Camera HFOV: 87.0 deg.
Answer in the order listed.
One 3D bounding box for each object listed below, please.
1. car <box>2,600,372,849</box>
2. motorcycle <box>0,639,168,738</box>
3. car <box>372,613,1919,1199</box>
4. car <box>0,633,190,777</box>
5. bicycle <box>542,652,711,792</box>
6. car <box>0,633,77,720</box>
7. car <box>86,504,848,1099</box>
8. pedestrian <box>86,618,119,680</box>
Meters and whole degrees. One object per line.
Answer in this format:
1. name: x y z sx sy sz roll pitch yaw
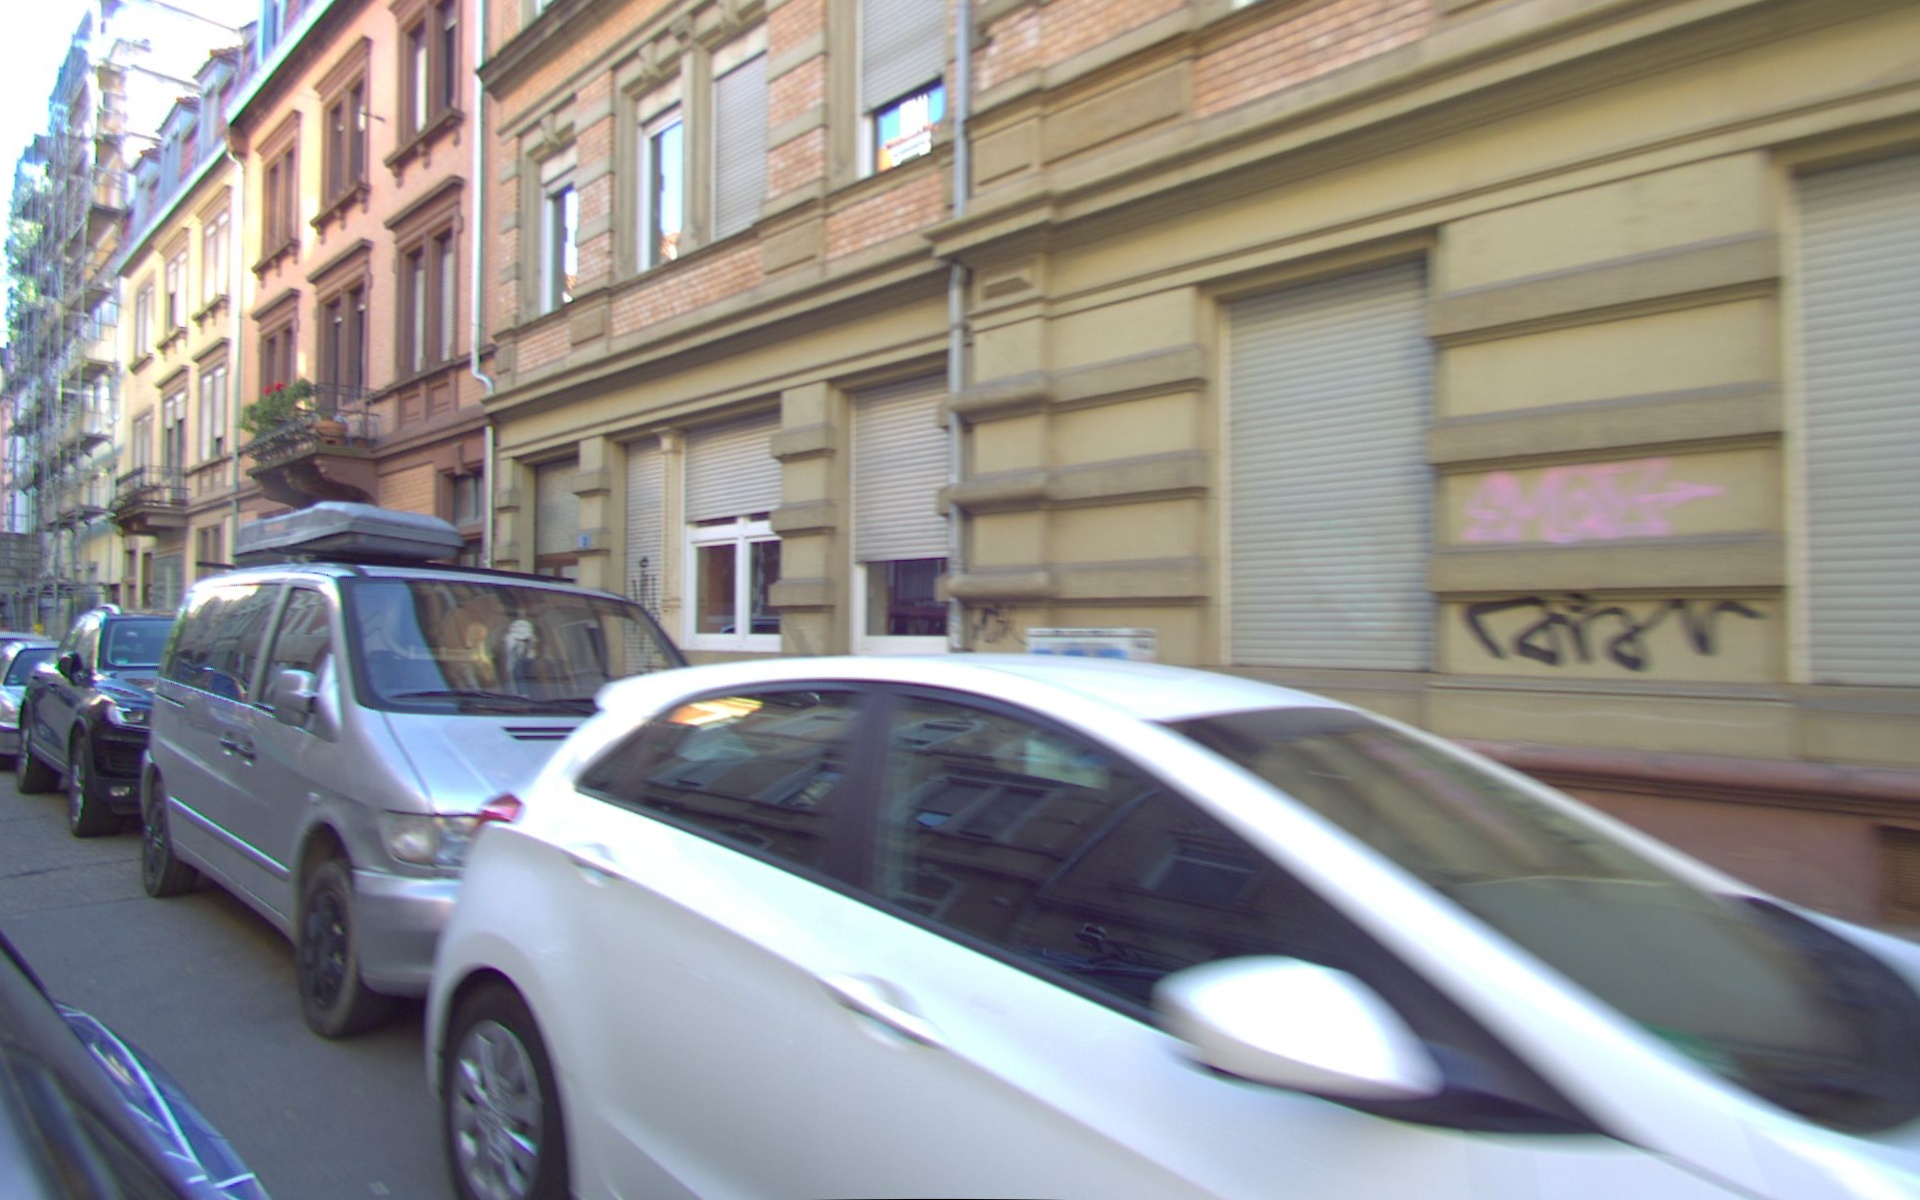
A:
1. car: -6.939 0.862 8.875 4.606 1.636 1.769 -1 -1 42
2. motorcycle: -13.310 1.305 15.132 2.165 1.370 0.844 2 -4 -1
3. car: 0.480 0.758 2.031 3.871 1.431 1.657 -1 -1 40
4. car: -10.703 1.121 12.035 3.998 1.324 1.681 -1 1 41
5. bicycle: -3.131 1.077 9.407 1.784 1.134 0.660 -2 -1 42
6. car: -17.262 1.308 18.035 3.997 1.430 1.657 -1 -4 40
7. car: -2.879 0.731 5.333 4.606 1.798 1.873 -1 -7 42
8. pedestrian: -18.315 1.043 21.610 0.646 1.294 0.445 -1 -1 41
